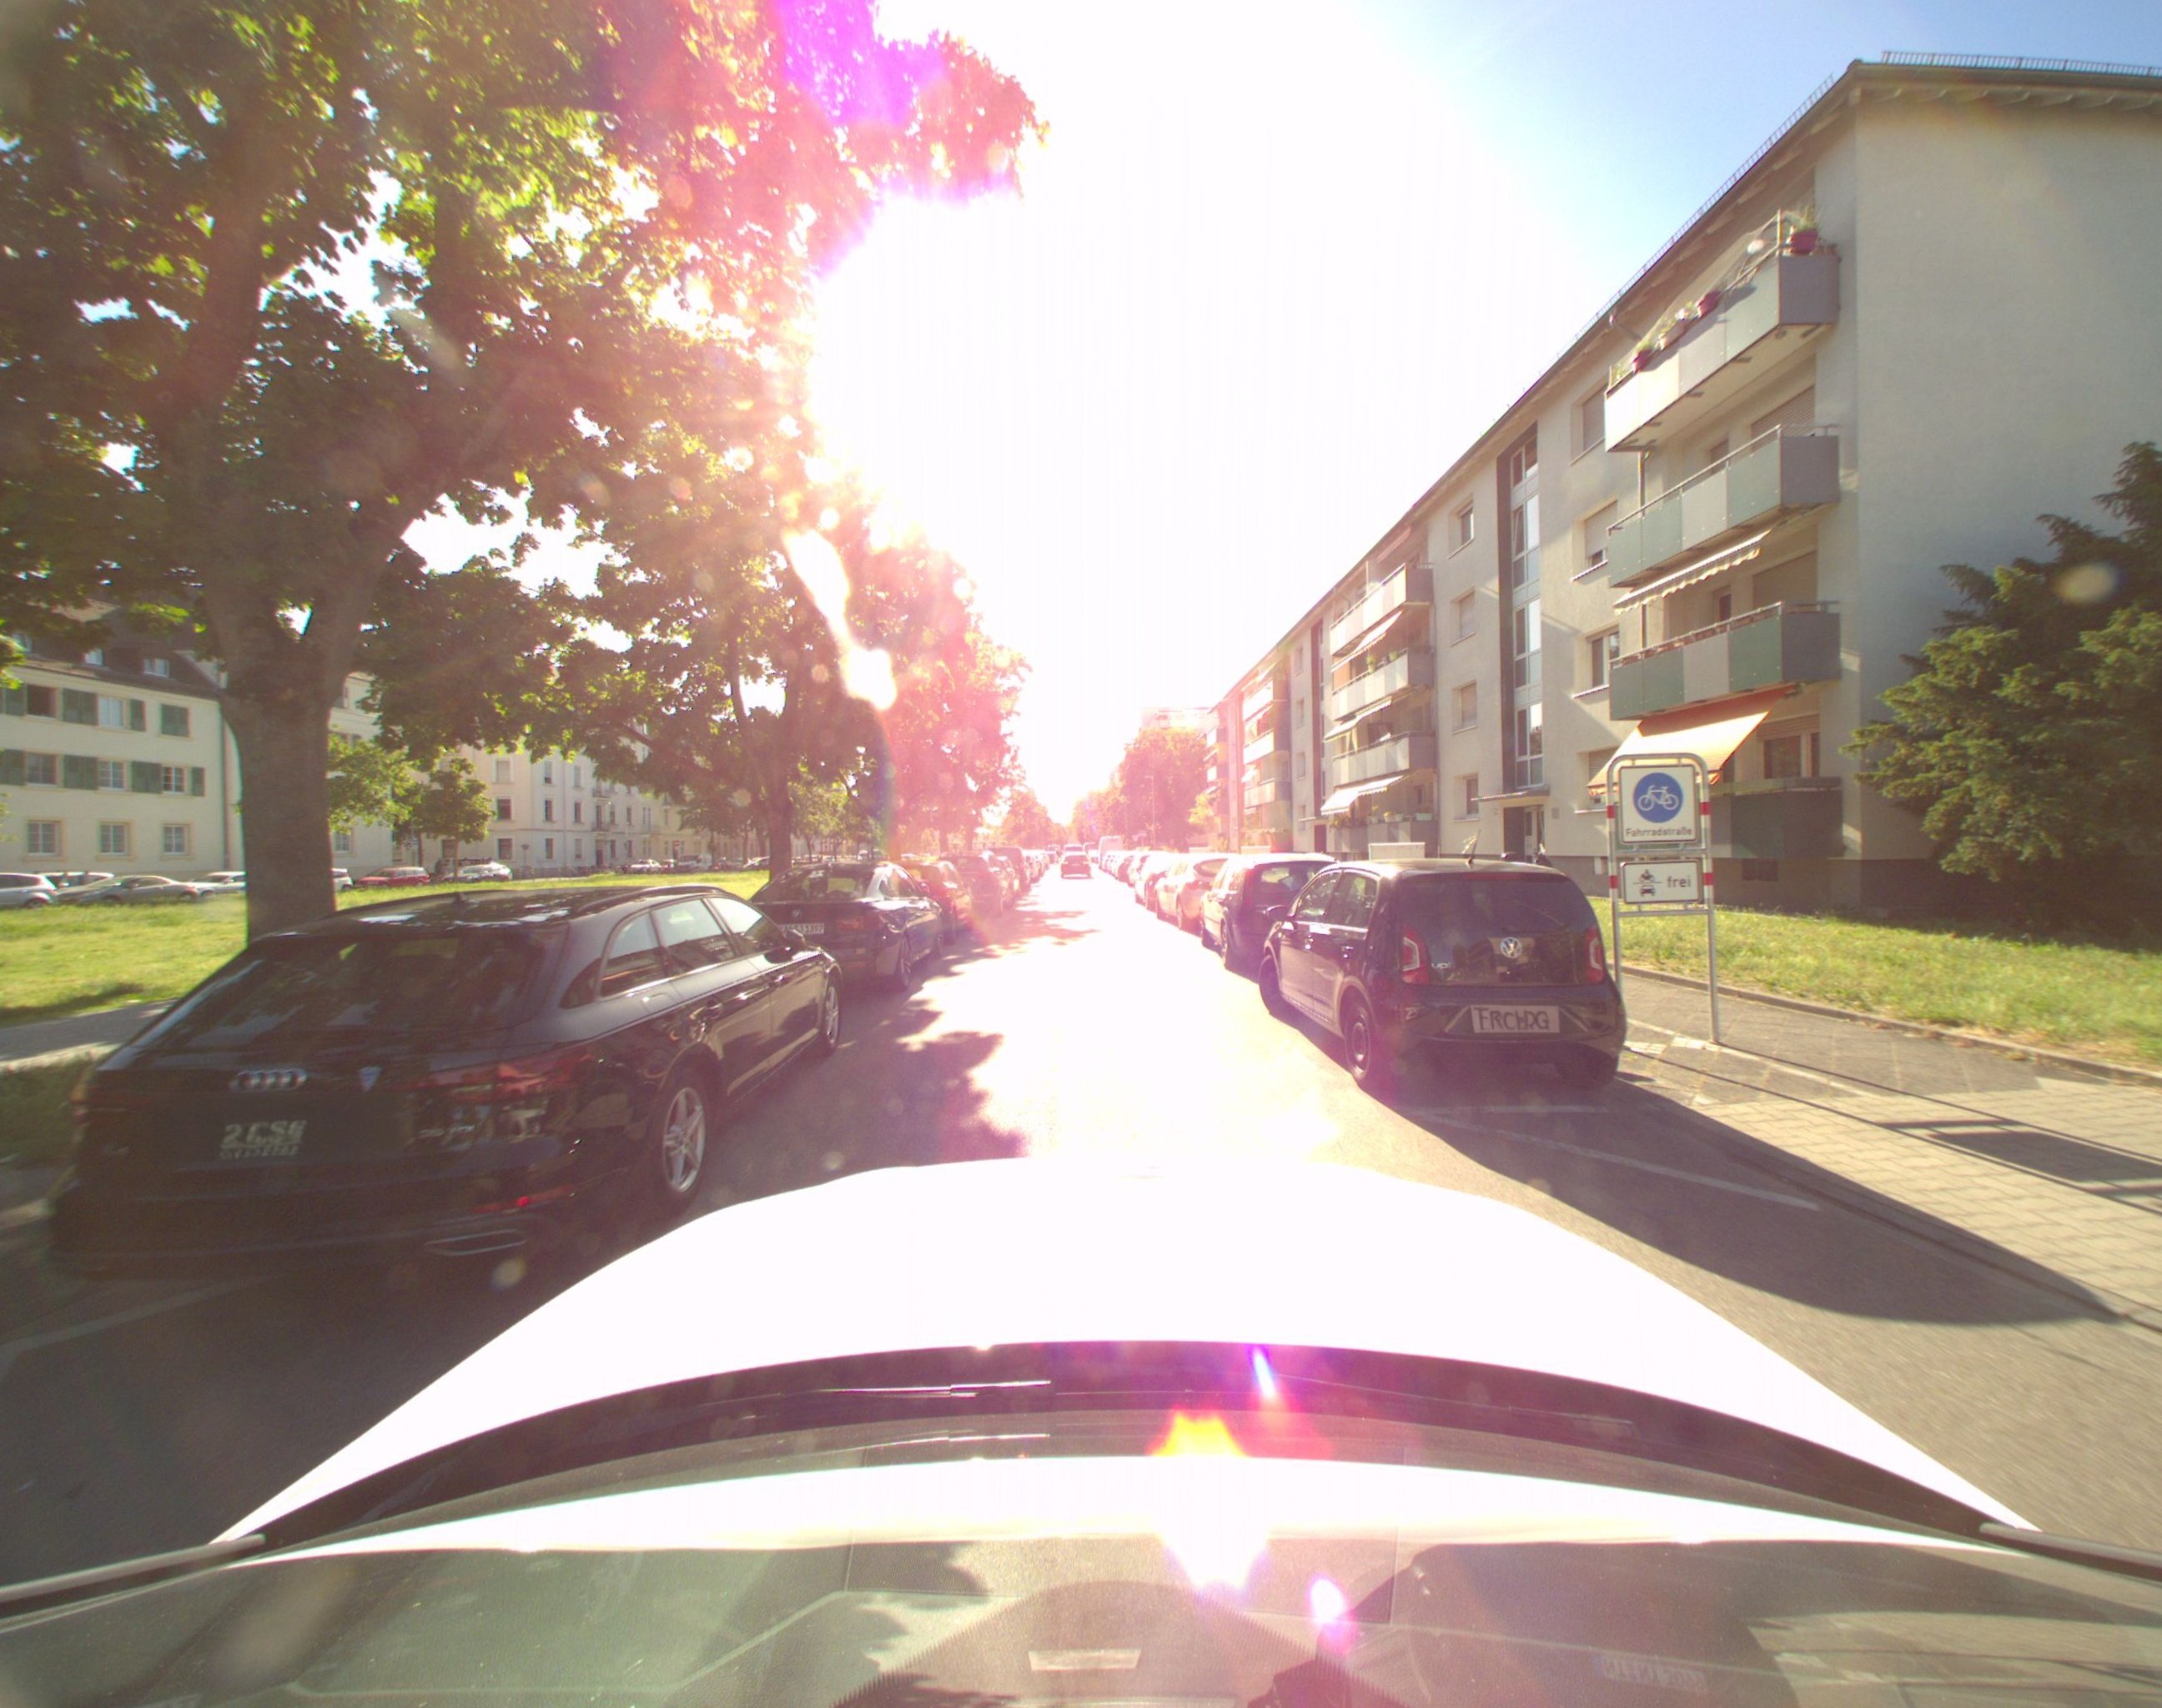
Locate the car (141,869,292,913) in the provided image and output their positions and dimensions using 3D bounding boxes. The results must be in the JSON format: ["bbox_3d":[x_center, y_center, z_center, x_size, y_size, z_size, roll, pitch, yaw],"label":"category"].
[{"bbox_3d":[-43.495,1.803,41.205,2.147,1.885,5.156,-1,0,-1],"label":"car"}]

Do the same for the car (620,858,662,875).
[{"bbox_3d":[-44.088,1.271,81.729,1.990,1.586,4.445,-1,0,-5],"label":"car"}]

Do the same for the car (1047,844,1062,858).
[{"bbox_3d":[-3.969,-0.474,122.656,2.092,1.942,4.125,-1,0,-1],"label":"car"}]

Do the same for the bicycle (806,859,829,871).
[{"bbox_3d":[-24.369,1.001,75.385,1.985,1.016,0.653,-1,0,-25],"label":"bicycle"}]

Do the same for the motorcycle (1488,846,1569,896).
[{"bbox_3d":[10.900,0.397,19.905,0.583,1.151,2.030,-1,0,-10],"label":"motorcycle"}]

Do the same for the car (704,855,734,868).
[{"bbox_3d":[-38.549,0.802,86.755,1.690,1.279,3.522,-1,0,-3],"label":"car"}]

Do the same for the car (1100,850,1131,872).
[{"bbox_3d":[2.437,0.466,58.051,1.844,1.466,4.198,0,1,-2],"label":"car"}]

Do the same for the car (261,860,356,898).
[{"bbox_3d":[-43.548,1.346,46.015,1.661,2.013,3.895,-1,0,-1],"label":"car"}]

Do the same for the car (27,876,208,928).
[{"bbox_3d":[-37.800,1.814,32.150,2.309,1.750,4.009,-1,0,0],"label":"car"}]

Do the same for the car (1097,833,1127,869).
[{"bbox_3d":[2.429,-0.249,66.018,2.135,2.713,6.841,-3,0,0],"label":"car"}]

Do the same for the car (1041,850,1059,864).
[{"bbox_3d":[-3.502,0.310,91.956,1.742,1.425,3.916,-3,0,0],"label":"car"}]

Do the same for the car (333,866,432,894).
[{"bbox_3d":[-43.583,1.607,50.990,1.988,1.485,4.955,-2,0,-2],"label":"car"}]

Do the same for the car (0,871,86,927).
[{"bbox_3d":[-37.721,1.580,27.093,2.442,1.820,5.454,-1,0,0],"label":"car"}]

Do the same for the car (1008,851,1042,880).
[{"bbox_3d":[-3.205,0.606,47.108,1.751,1.492,4.664,-3,0,-2],"label":"car"}]

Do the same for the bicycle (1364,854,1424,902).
[{"bbox_3d":[7.525,0.551,19.676,0.717,1.077,1.897,-1,0,1],"label":"bicycle"}]

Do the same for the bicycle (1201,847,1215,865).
[{"bbox_3d":[8.610,0.178,55.168,0.594,1.176,2.012,-1,-1,-2],"label":"bicycle"}]

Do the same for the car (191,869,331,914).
[{"bbox_3d":[-37.913,1.667,37.830,2.231,1.820,4.253,-1,0,-3],"label":"car"}]

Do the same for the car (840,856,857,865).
[{"bbox_3d":[-39.809,1.157,139.238,1.841,1.440,3.773,-1,0,-1],"label":"car"}]

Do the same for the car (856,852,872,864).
[{"bbox_3d":[-39.820,0.751,149.518,1.690,2.213,5.002,-1,0,-3],"label":"car"}]

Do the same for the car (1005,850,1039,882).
[{"bbox_3d":[-3.065,0.590,42.667,1.582,1.492,3.682,-3,0,-2],"label":"car"}]

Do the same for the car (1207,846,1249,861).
[{"bbox_3d":[14.879,-0.021,82.394,3.880,1.429,1.656,-1,0,-5],"label":"car"}]

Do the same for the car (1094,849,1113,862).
[{"bbox_3d":[2.636,0.154,95.835,2.118,1.337,4.505,-4,0,0],"label":"car"}]

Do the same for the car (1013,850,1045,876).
[{"bbox_3d":[-3.302,0.557,52.274,1.868,1.519,4.467,-3,0,-2],"label":"car"}]

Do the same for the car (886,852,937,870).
[{"bbox_3d":[-15.733,0.630,75.555,4.356,1.409,1.905,-1,2,-26],"label":"car"}]

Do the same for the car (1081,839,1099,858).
[{"bbox_3d":[1.343,-0.837,123.300,2.159,2.689,5.409,-1,0,-4],"label":"car"}]

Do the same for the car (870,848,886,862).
[{"bbox_3d":[-40.309,0.126,161.957,1.911,2.744,5.618,-1,0,-3],"label":"car"}]

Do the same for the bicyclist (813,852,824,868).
[{"bbox_3d":[-24.259,0.558,75.351,0.878,1.363,0.619,1,6,-23],"label":"bicyclist"}]

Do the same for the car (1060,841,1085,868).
[{"bbox_3d":[-0.635,0.039,66.199,1.888,1.991,4.010,-3,0,0],"label":"car"}]

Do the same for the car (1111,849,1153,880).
[{"bbox_3d":[2.617,0.504,42.563,1.695,1.435,4.467,-3,0,-2],"label":"car"}]

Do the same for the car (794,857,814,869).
[{"bbox_3d":[-39.161,1.244,115.185,1.628,1.686,4.076,-1,0,-3],"label":"car"}]

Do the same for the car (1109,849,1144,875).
[{"bbox_3d":[2.639,0.428,47.994,1.716,1.435,4.151,-2,0,-1],"label":"car"}]

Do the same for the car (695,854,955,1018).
[{"bbox_3d":[-2.947,0.814,10.709,1.989,1.516,5.152,-2,0,-3],"label":"car"}]

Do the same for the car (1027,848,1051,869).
[{"bbox_3d":[-3.578,0.388,69.903,1.750,1.647,4.287,-3,0,0],"label":"car"}]

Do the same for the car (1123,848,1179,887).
[{"bbox_3d":[2.850,0.517,33.989,1.744,1.499,3.855,-2,0,-4],"label":"car"}]

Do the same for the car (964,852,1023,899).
[{"bbox_3d":[-2.905,0.675,27.778,1.533,1.428,4.087,-1,0,0],"label":"car"}]

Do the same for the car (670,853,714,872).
[{"bbox_3d":[-38.810,0.815,81.370,2.077,1.872,5.092,-1,0,-3],"label":"car"}]

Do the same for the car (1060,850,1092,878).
[{"bbox_3d":[-0.238,0.524,47.060,1.773,1.531,4.000,0,0,0],"label":"car"}]

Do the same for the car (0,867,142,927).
[{"bbox_3d":[-43.536,1.730,34.028,2.525,2.216,5.252,-1,0,-3],"label":"car"}]

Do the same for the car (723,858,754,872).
[{"bbox_3d":[-38.666,1.224,92.058,1.690,1.561,4.692,-1,0,-3],"label":"car"}]

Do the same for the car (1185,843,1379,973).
[{"bbox_3d":[2.710,0.631,12.086,1.764,1.529,4.557,-1,0,0],"label":"car"}]

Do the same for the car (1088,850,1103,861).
[{"bbox_3d":[1.823,0.190,101.770,1.773,1.371,4.126,-1,0,0],"label":"car"}]

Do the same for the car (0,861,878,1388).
[{"bbox_3d":[-2.665,0.821,4.917,1.831,1.452,4.963,-1,0,-3],"label":"car"}]

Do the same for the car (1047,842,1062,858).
[{"bbox_3d":[-4.219,-0.688,129.060,2.091,2.496,4.126,-1,0,0],"label":"car"}]

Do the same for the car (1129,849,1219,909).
[{"bbox_3d":[2.496,0.621,23.051,1.838,1.472,5.062,-1,0,-2],"label":"car"}]

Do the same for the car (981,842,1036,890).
[{"bbox_3d":[-2.937,0.476,33.856,1.859,1.784,4.989,-1,0,-1],"label":"car"}]

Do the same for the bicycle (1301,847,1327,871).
[{"bbox_3d":[10.722,0.229,37.587,0.522,1.070,2.008,-3,0,-2],"label":"bicycle"}]

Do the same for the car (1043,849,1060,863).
[{"bbox_3d":[-3.448,0.270,96.478,1.771,1.495,3.874,-3,0,0],"label":"car"}]

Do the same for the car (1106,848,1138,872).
[{"bbox_3d":[2.648,0.382,53.370,1.872,1.475,4.139,-1,0,-1],"label":"car"}]

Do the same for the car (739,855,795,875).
[{"bbox_3d":[-27.111,0.911,70.362,4.356,1.576,1.913,-2,1,-26],"label":"car"}]

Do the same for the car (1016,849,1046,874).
[{"bbox_3d":[-3.465,0.463,57.300,1.814,1.610,4.737,-3,0,-1],"label":"car"}]

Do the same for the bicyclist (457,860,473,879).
[{"bbox_3d":[-45.022,1.108,59.543,0.530,1.363,0.785,-1,0,0],"label":"bicyclist"}]

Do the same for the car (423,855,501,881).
[{"bbox_3d":[-50.641,1.147,66.718,4.554,2.013,2.137,-1,0,-5],"label":"car"}]

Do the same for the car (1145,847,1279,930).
[{"bbox_3d":[2.657,0.637,17.669,1.870,1.533,4.486,-1,0,-4],"label":"car"}]

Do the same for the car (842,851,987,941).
[{"bbox_3d":[-2.941,0.700,15.214,1.874,1.419,3.803,-2,-1,0],"label":"car"}]

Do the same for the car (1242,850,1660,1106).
[{"bbox_3d":[2.536,0.712,6.633,1.653,1.474,3.791,0,0,-1],"label":"car"}]

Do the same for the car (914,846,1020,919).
[{"bbox_3d":[-2.862,0.664,21.512,2.019,1.625,4.757,-2,0,0],"label":"car"}]
